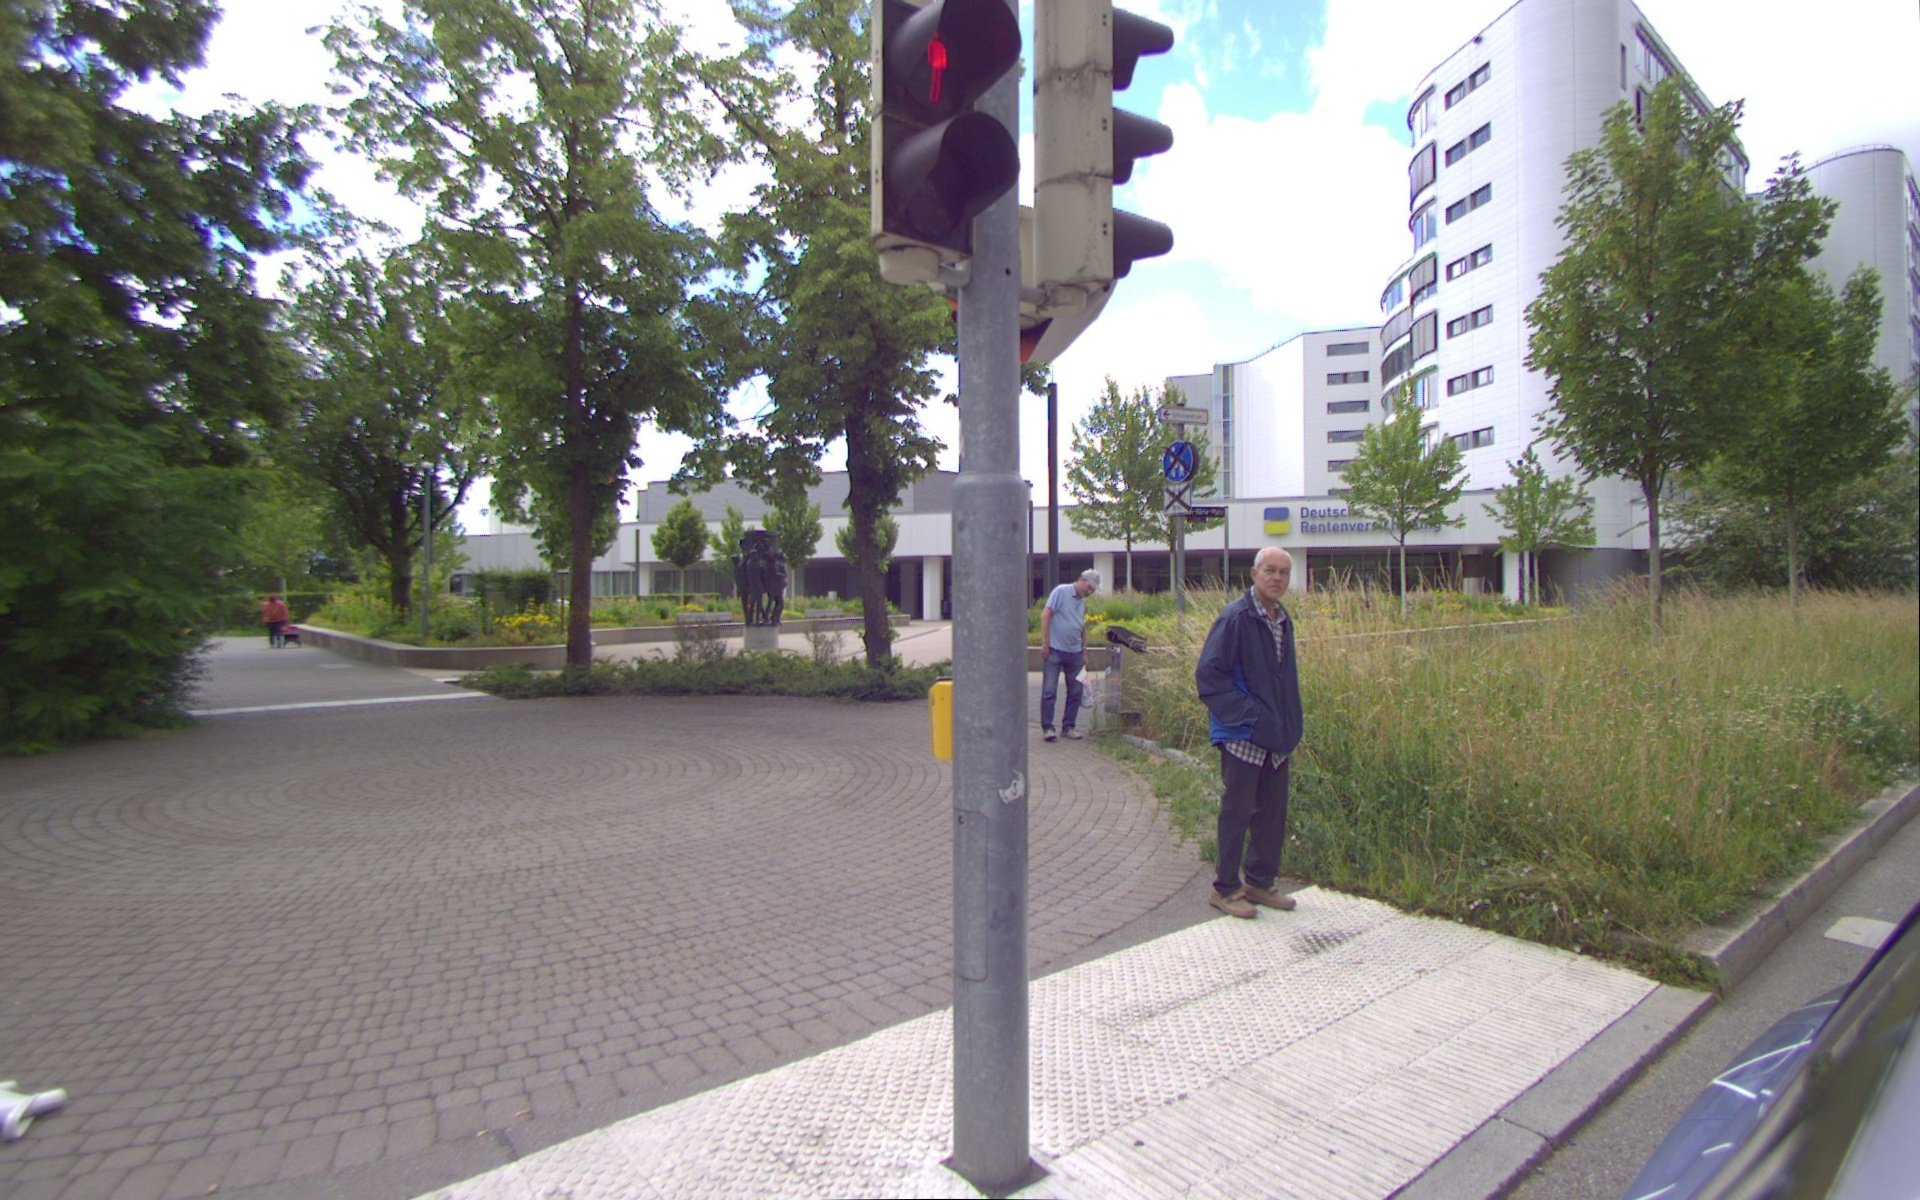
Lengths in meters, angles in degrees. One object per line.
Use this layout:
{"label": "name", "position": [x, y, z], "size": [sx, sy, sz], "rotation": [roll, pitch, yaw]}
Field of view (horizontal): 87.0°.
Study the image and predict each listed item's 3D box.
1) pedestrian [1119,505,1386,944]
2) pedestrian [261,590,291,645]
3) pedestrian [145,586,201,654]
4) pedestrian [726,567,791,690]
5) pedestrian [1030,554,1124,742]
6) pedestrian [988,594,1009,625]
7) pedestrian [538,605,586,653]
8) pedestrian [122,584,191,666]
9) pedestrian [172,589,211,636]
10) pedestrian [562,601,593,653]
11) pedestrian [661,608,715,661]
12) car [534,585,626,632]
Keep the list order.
{"label": "pedestrian", "position": [1.330, 0.495, 4.664], "size": [0.715, 1.762, 0.954], "rotation": [0, 0, -40]}
{"label": "pedestrian", "position": [-19.235, 0.468, 28.440], "size": [0.624, 1.520, 0.703], "rotation": [0, 0, -41]}
{"label": "pedestrian", "position": [-20.091, 0.489, 25.839], "size": [0.867, 1.672, 0.978], "rotation": [0, 0, 41]}
{"label": "pedestrian", "position": [-2.894, 0.390, 14.531], "size": [0.685, 1.716, 0.651], "rotation": [0, 0, -42]}
{"label": "pedestrian", "position": [1.165, 0.458, 10.195], "size": [0.713, 1.813, 0.695], "rotation": [0, 0, -17]}
{"label": "pedestrian", "position": [1.648, 0.399, 42.745], "size": [0.870, 1.290, 0.704], "rotation": [0, 0, 4]}
{"label": "pedestrian", "position": [-8.250, 0.594, 20.989], "size": [0.736, 0.960, 0.713], "rotation": [0, 0, -1]}
{"label": "pedestrian", "position": [-16.764, 0.497, 21.119], "size": [0.867, 1.672, 0.978], "rotation": [0, 0, 41]}
{"label": "pedestrian", "position": [-28.026, 0.449, 36.898], "size": [0.867, 1.672, 0.978], "rotation": [0, 0, 41]}
{"label": "pedestrian", "position": [-9.620, 0.677, 25.447], "size": [0.560, 1.278, 0.581], "rotation": [-1, 0, -41]}
{"label": "pedestrian", "position": [-4.686, 0.582, 17.437], "size": [0.685, 0.874, 0.651], "rotation": [0, 1, -42]}
{"label": "car", "position": [-15.218, 0.324, 40.512], "size": [3.473, 1.788, 1.622], "rotation": [0, 1, 29]}
